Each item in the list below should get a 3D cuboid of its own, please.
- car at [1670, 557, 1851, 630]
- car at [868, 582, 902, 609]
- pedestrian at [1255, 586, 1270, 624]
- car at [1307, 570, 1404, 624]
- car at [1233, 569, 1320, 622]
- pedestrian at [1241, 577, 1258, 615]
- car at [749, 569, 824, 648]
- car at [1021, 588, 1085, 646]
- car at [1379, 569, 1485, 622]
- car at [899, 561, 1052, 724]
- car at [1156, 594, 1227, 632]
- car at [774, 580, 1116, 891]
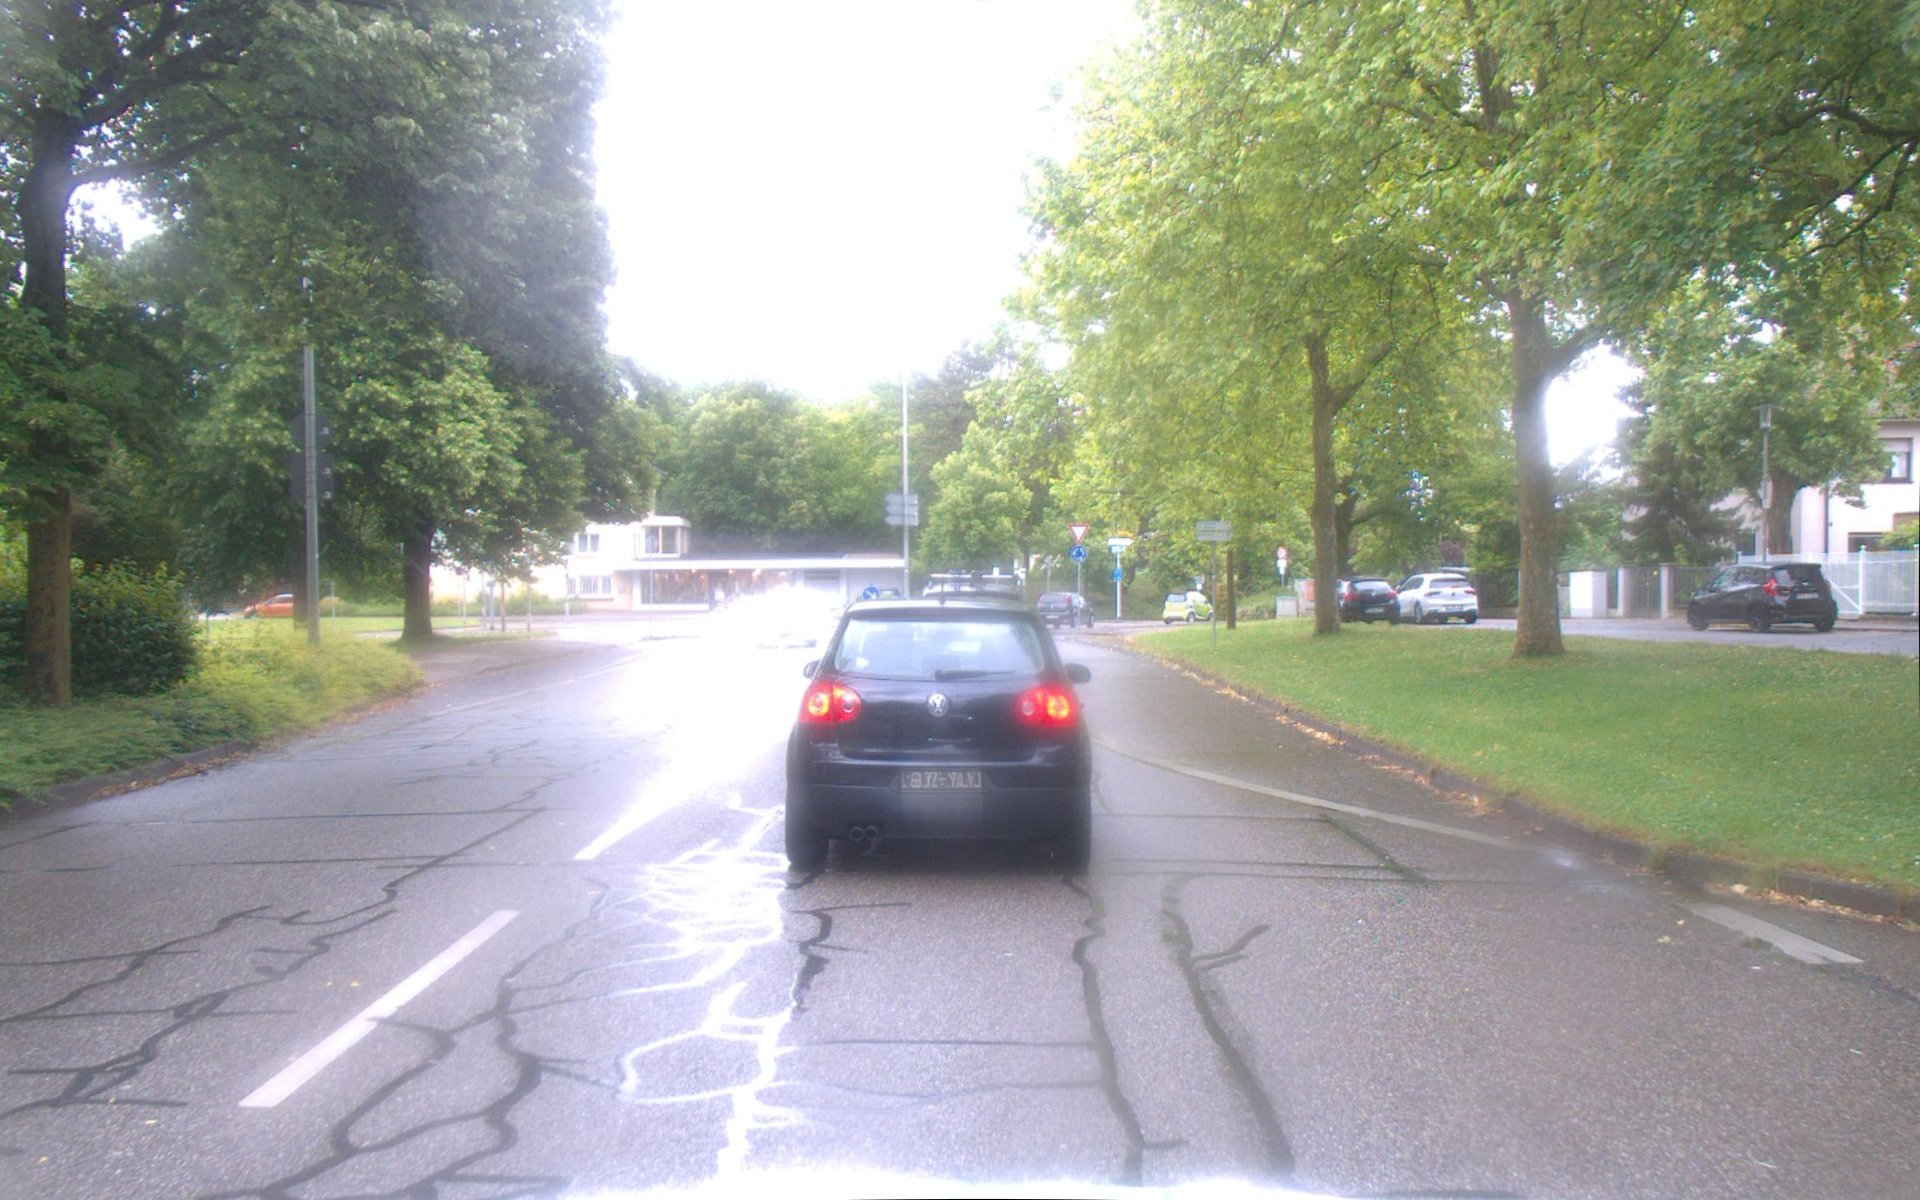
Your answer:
[{"bbox_3d":[17.978,-0.131,37.373,1.725,1.497,4.353,-2,0,-4],"label":"car"},{"bbox_3d":[-4.494,-0.277,98.625,1.778,1.512,3.826,-1,0,-6],"label":"car"},{"bbox_3d":[14.042,0.235,76.753,0.620,1.743,0.530,1,-1,17],"label":"pedestrian"},{"bbox_3d":[11.948,-0.078,50.252,1.728,1.497,4.597,-2,0,-1],"label":"car"},{"bbox_3d":[12.216,-0.205,64.030,1.957,1.771,4.136,4,1,-9],"label":"car"},{"bbox_3d":[13.333,-0.170,76.152,0.519,1.743,0.633,1,-1,-14],"label":"pedestrian"},{"bbox_3d":[-4.853,0.239,46.252,1.955,2.049,4.567,1,0,-6],"label":"car"},{"bbox_3d":[3.728,0.720,66.897,1.960,1.552,3.998,-15,-4,-3],"label":"car"},{"bbox_3d":[14.355,-0.112,50.530,1.808,1.497,4.424,-2,0,-2],"label":"car"},{"bbox_3d":[0.150,0.496,21.229,1.729,1.833,4.245,-1,0,-1],"label":"car"},{"bbox_3d":[11.249,0.650,80.201,1.783,1.780,3.987,1,0,34],"label":"car"},{"bbox_3d":[-0.100,0.704,10.485,1.729,1.565,3.999,1,0,-1],"label":"car"}]
